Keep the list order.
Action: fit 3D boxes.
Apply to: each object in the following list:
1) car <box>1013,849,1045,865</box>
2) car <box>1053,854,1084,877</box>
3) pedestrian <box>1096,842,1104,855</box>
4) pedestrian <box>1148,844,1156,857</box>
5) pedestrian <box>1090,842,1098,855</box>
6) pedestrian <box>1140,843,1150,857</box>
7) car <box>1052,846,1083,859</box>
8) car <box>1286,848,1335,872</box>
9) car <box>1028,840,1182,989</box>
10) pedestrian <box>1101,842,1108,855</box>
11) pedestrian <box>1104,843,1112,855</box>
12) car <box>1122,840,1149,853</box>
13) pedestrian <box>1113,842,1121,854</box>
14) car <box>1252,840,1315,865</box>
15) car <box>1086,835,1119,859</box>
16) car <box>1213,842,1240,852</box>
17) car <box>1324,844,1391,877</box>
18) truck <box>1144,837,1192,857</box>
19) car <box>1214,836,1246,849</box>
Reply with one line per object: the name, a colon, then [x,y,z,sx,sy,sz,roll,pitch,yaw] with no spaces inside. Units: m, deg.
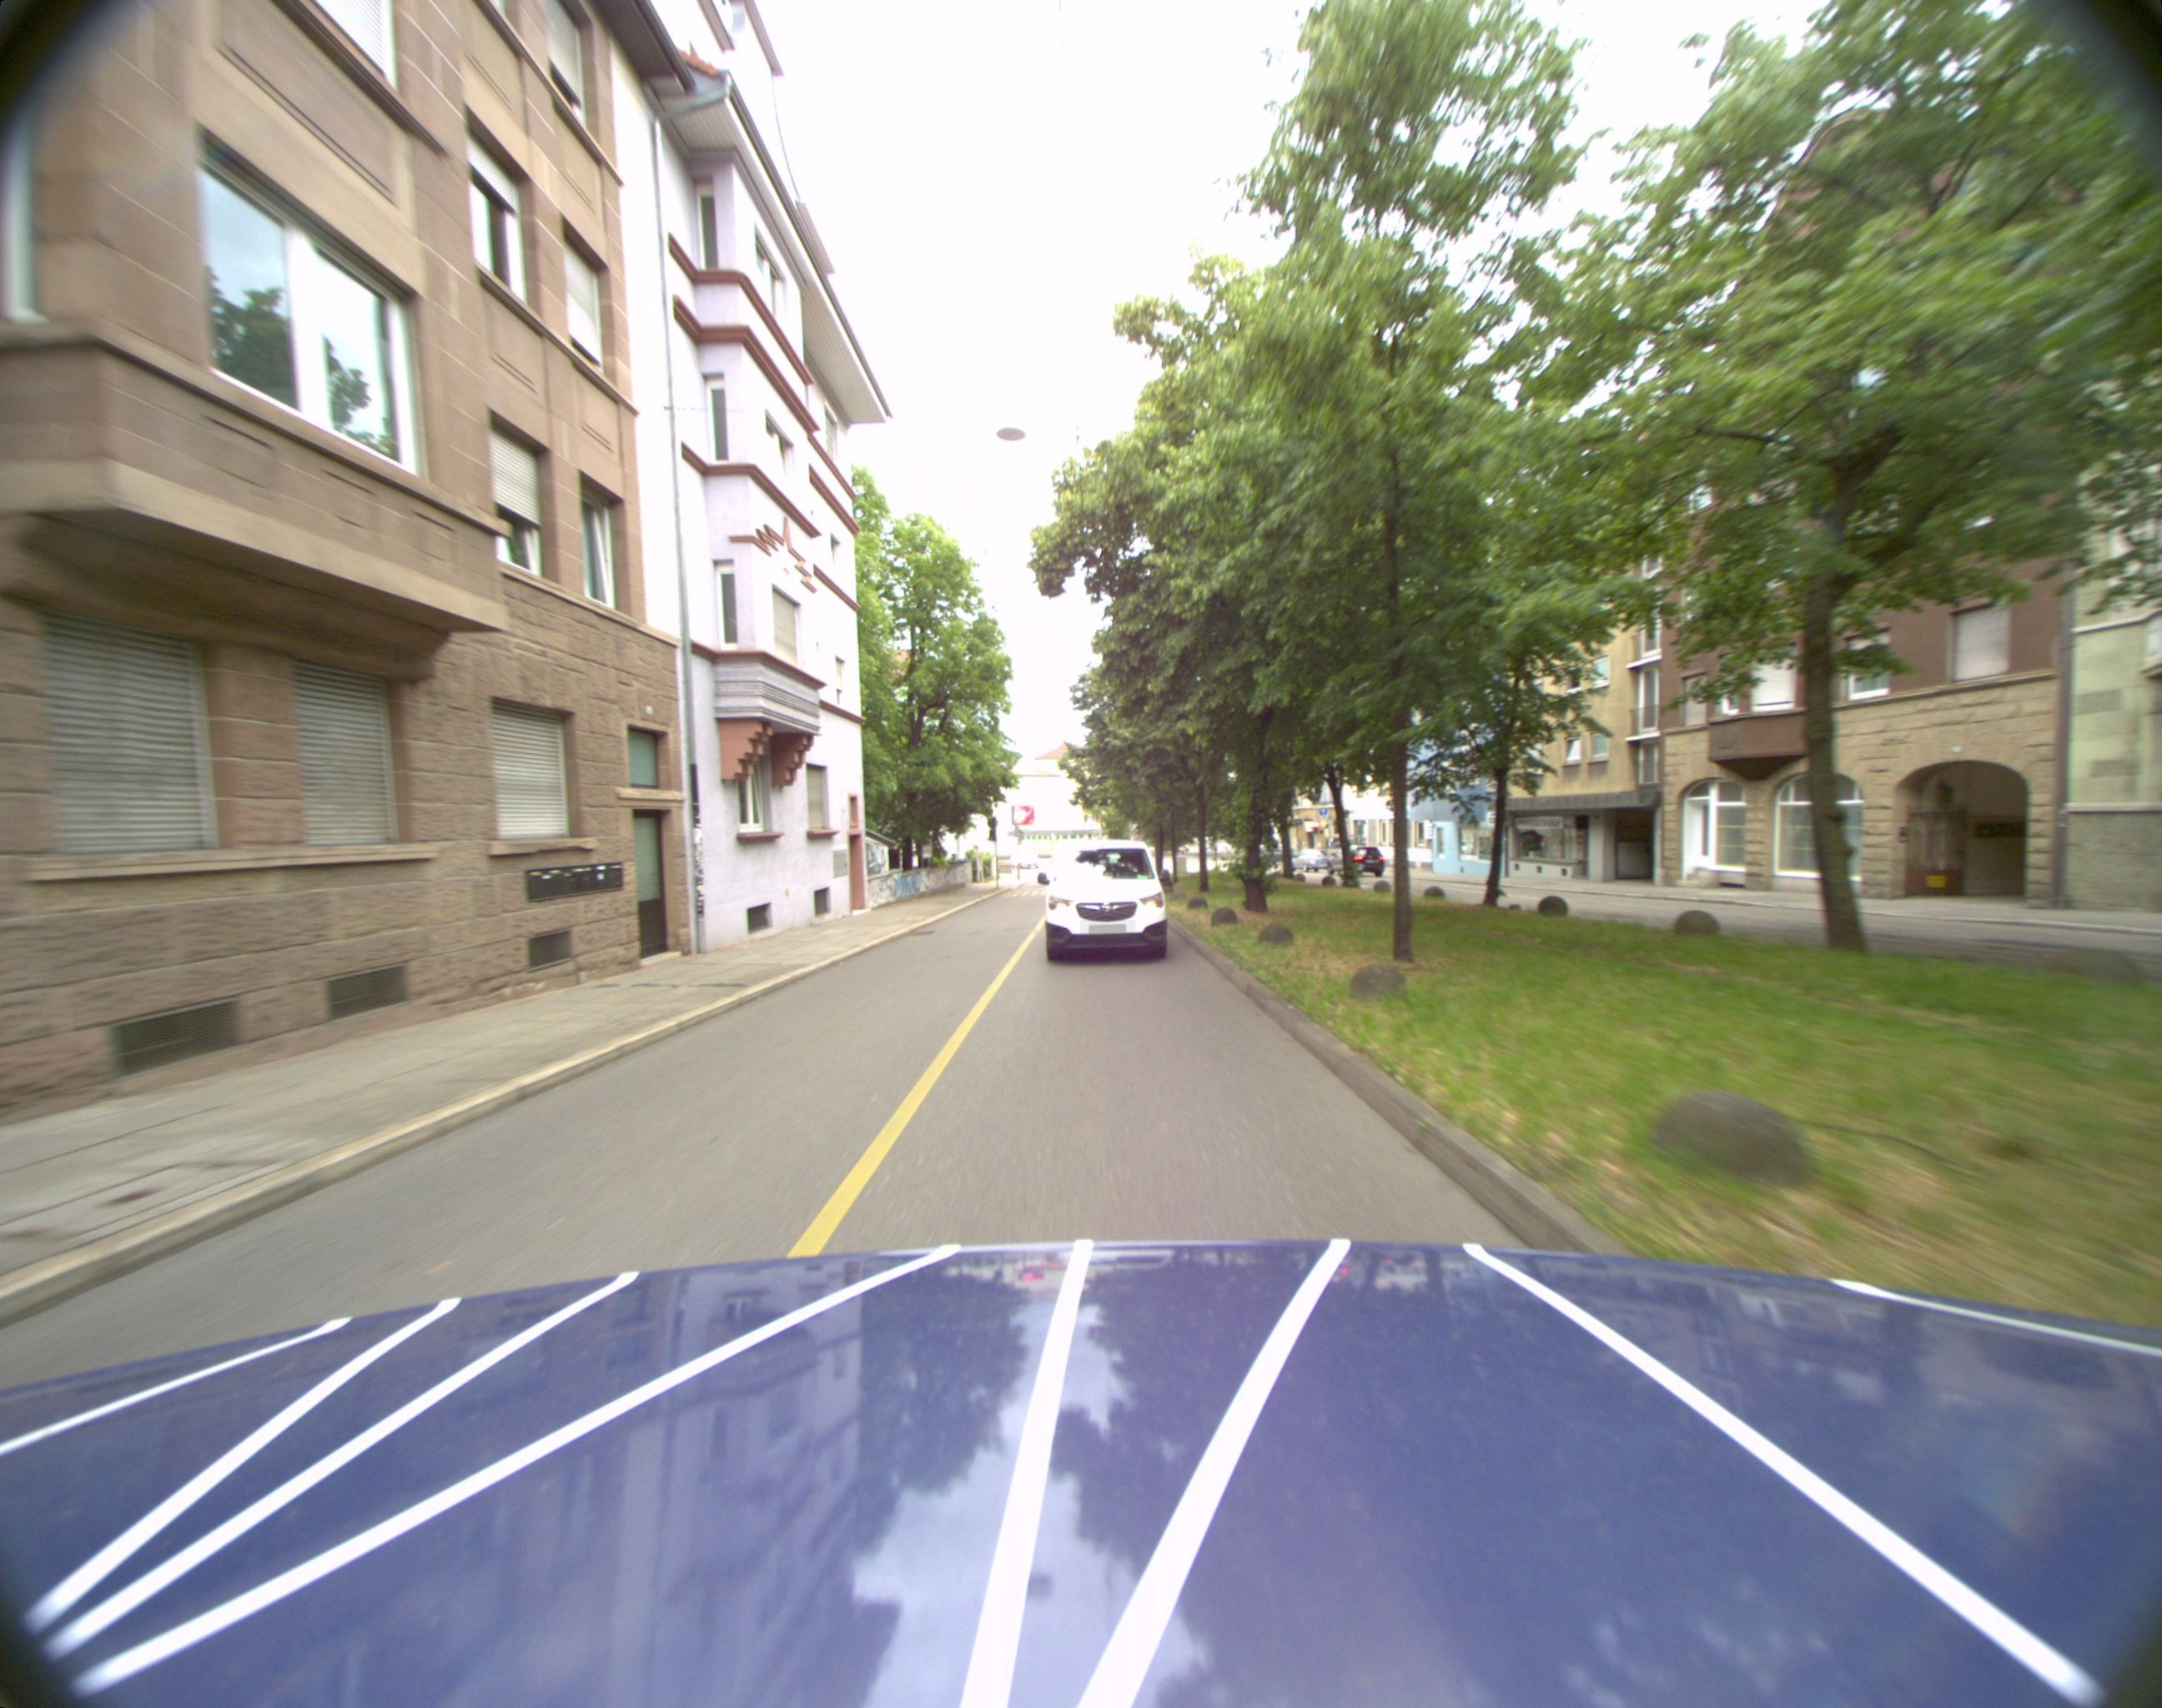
car: [-5.183,0.318,75.056,1.956,1.541,4.029,-3,0,-21]
car: [-0.948,0.785,55.465,2.038,1.541,4.034,-3,0,-2]
pedestrian: [2.478,-0.717,97.470,0.770,1.610,0.651,-1,3,32]
pedestrian: [8.099,-0.410,86.966,0.606,1.424,0.600,-4,3,-33]
pedestrian: [1.691,-0.704,98.044,0.773,1.610,0.648,-5,4,-42]
pedestrian: [7.453,-0.461,88.512,0.707,1.574,0.801,-5,3,-34]
car: [-1.679,-0.158,90.770,1.799,1.422,3.952,-4,3,-33]
car: [14.630,0.376,48.673,1.673,1.398,4.293,-1,0,-2]
car: [0.404,0.750,11.739,1.857,1.798,4.730,-1,0,3]
pedestrian: [3.002,-0.709,96.685,0.607,1.610,0.553,-5,4,-35]
pedestrian: [3.768,-0.662,104.424,0.867,1.610,0.919,-2,3,13]
car: [7.207,-1.011,100.249,2.207,1.563,4.482,-2,3,23]
pedestrian: [5.083,-0.804,106.426,0.867,1.610,0.919,-2,3,13]
car: [16.660,-0.085,62.481,4.719,1.605,1.861,-5,1,23]
car: [1.954,-0.700,69.889,2.000,2.003,4.263,-3,3,-13]
car: [24.292,-1.131,126.593,3.922,1.590,1.896,-1,3,37]
car: [14.823,0.304,40.953,1.820,1.627,4.678,0,1,-1]
truck: [12.285,-1.058,107.273,6.467,2.707,2.765,-1,0,-34]
car: [20.999,-1.596,107.045,1.896,1.590,3.922,-5,4,-45]
